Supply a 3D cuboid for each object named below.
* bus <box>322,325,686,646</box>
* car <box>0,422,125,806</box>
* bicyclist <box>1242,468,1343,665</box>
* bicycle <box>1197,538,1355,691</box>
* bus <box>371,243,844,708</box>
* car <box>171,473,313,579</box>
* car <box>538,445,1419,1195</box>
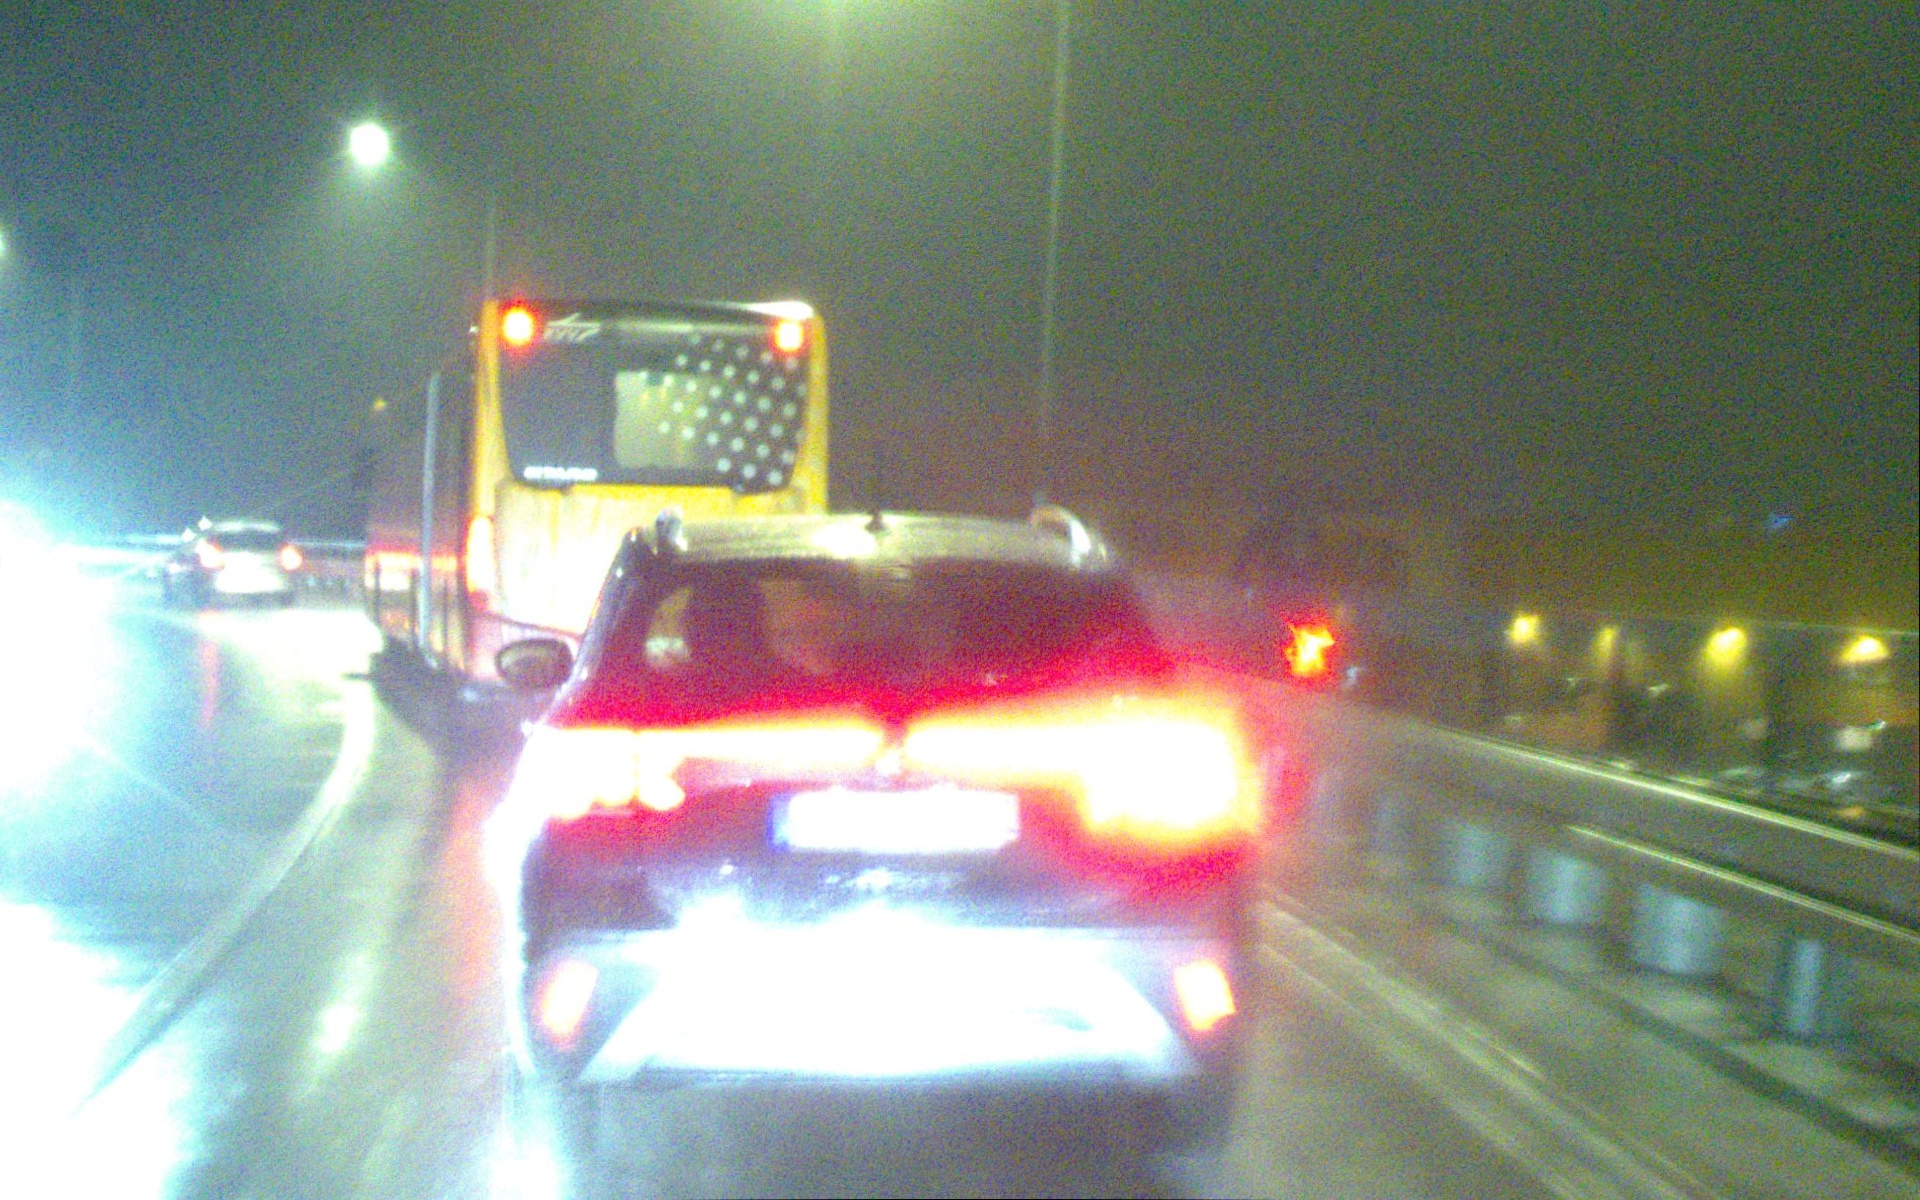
[{"bbox_3d":[-5.459,-1.215,39.709,3.048,3.121,8.080,-5,1,-14],"label":"bus"},{"bbox_3d":[-5.517,0.017,17.154,2.022,1.713,4.983,0,2,-7],"label":"car"},{"bbox_3d":[2.327,-0.241,24.081,0.452,1.345,0.765,1,1,-13],"label":"bicyclist"},{"bbox_3d":[2.231,0.079,24.528,0.484,1.031,2.173,0,1,-12],"label":"bicycle"},{"bbox_3d":[-3.445,-1.055,29.604,3.082,3.122,12.701,0,2,-10],"label":"bus"},{"bbox_3d":[-12.239,-1.241,58.472,1.636,1.650,3.710,-3,1,-22],"label":"car"},{"bbox_3d":[0.002,0.430,9.310,1.855,1.581,4.000,1,1,-1],"label":"car"}]
